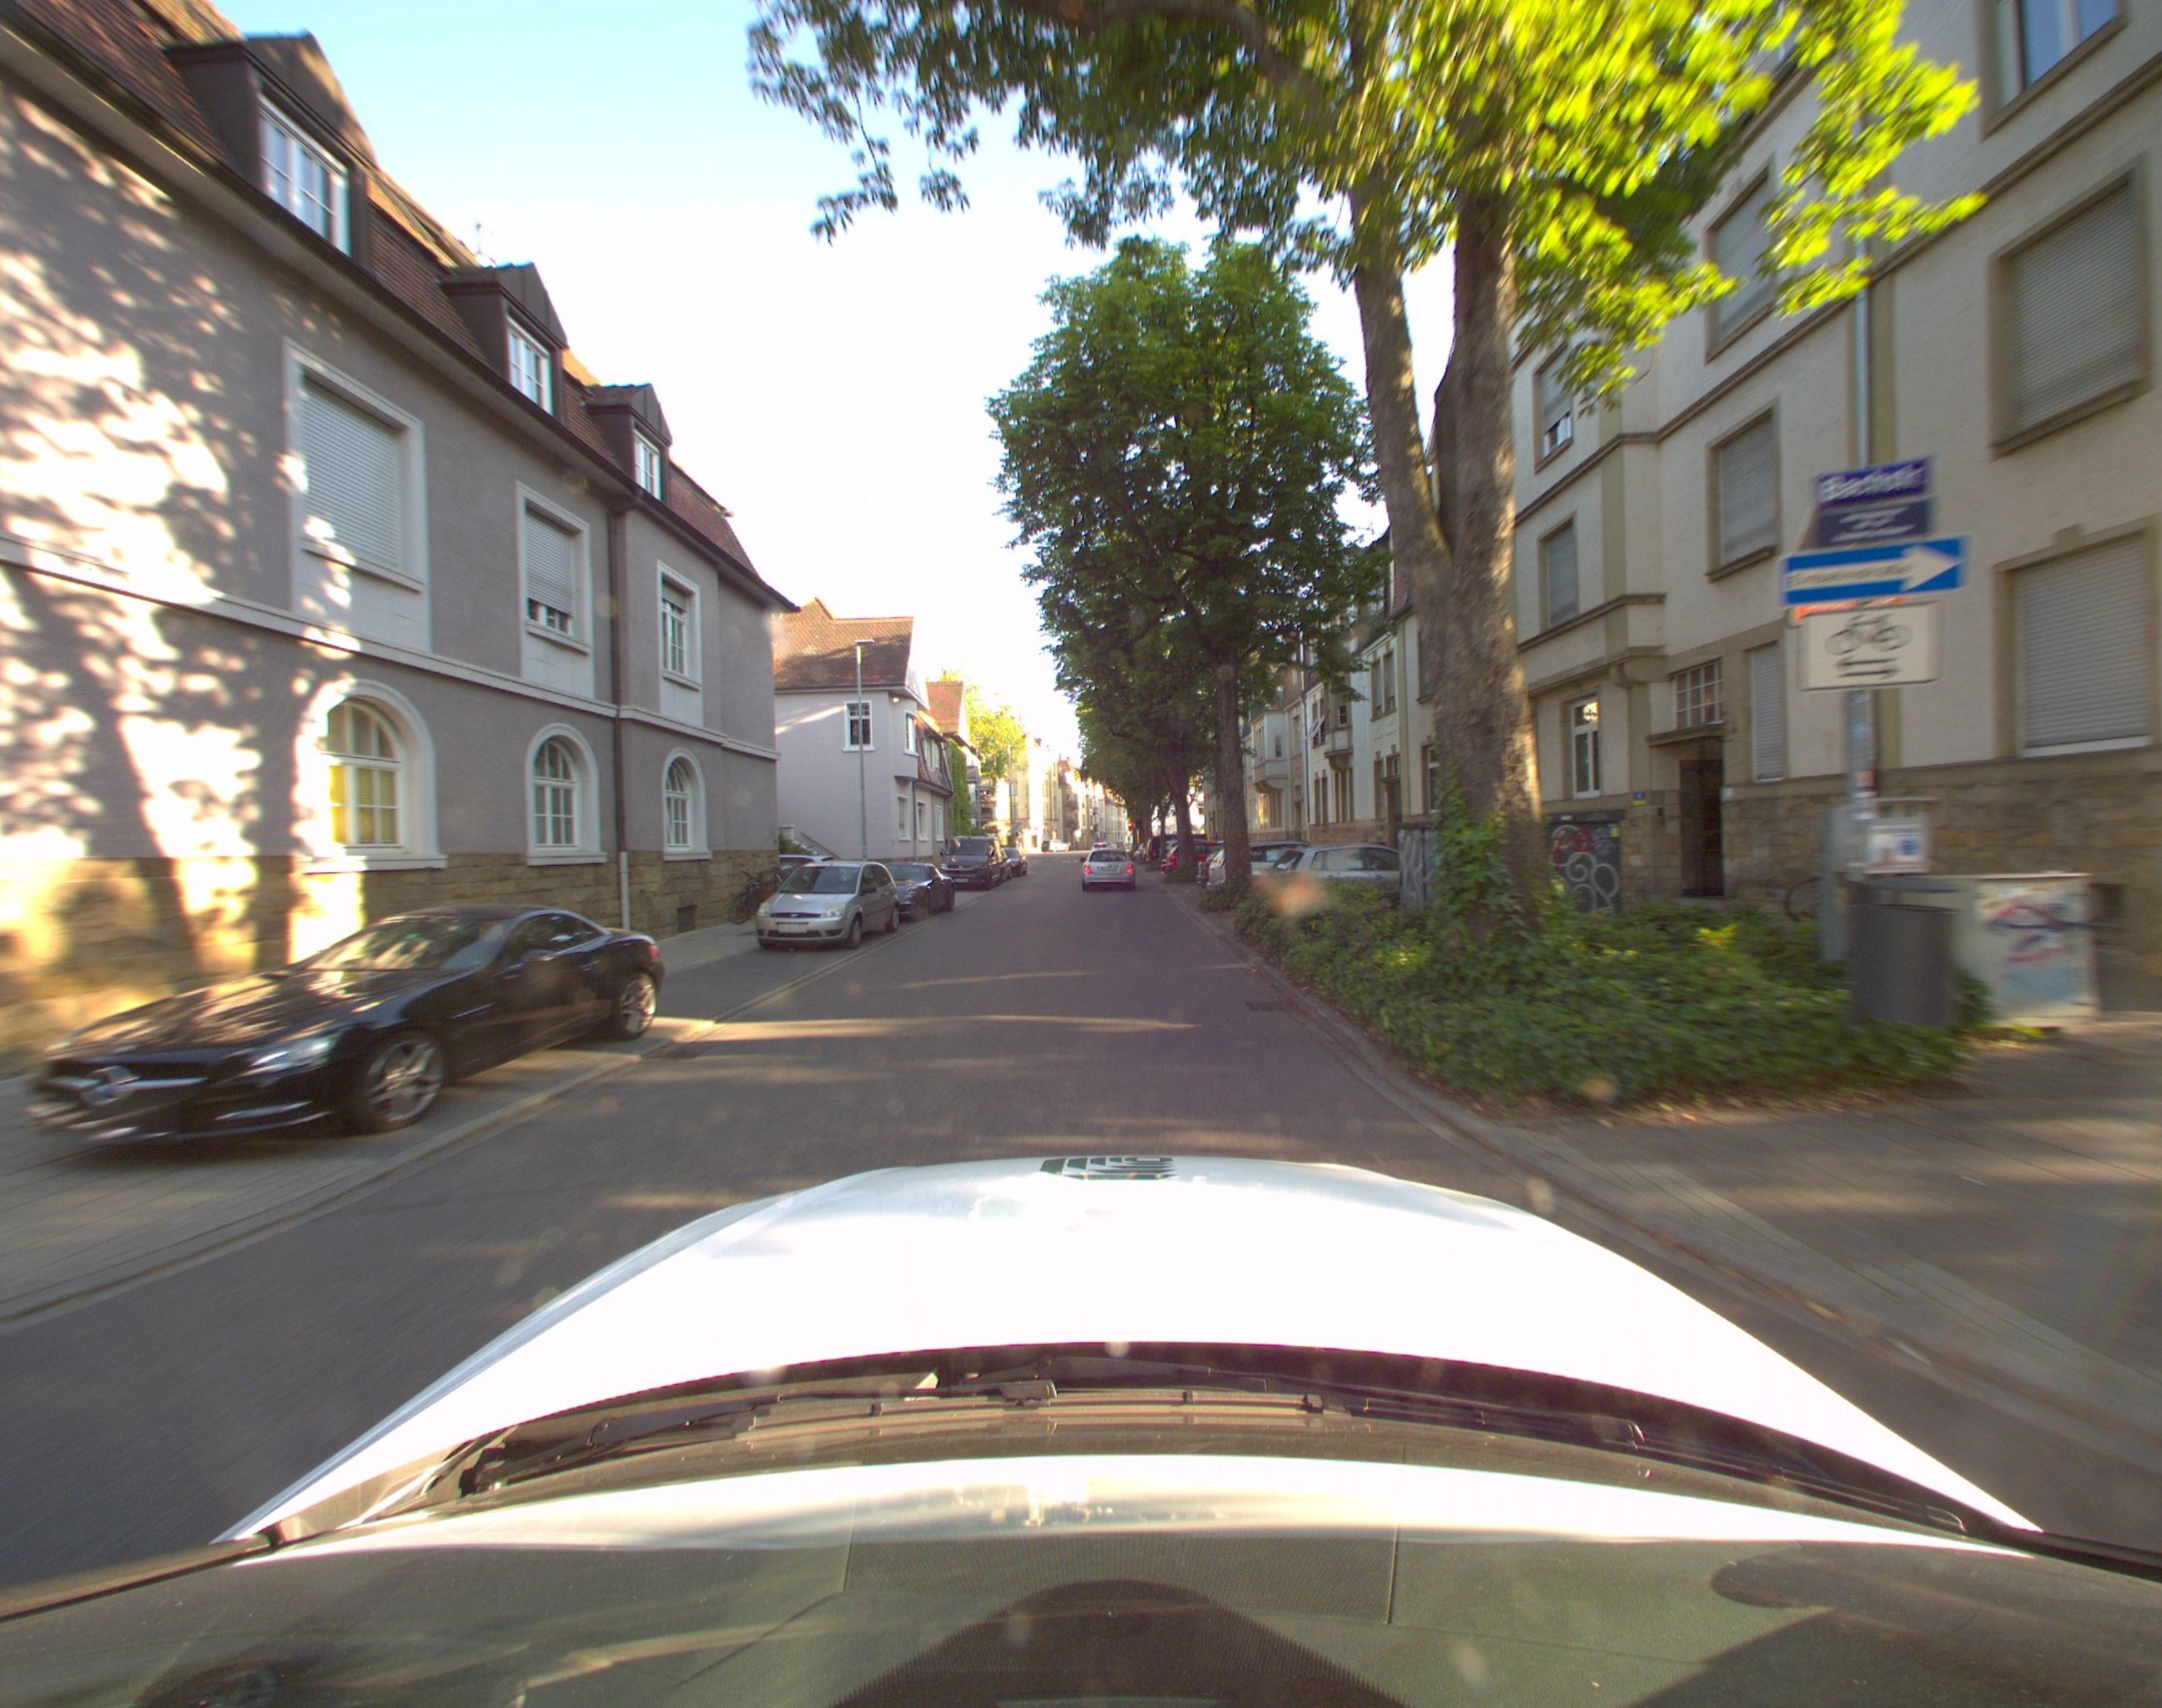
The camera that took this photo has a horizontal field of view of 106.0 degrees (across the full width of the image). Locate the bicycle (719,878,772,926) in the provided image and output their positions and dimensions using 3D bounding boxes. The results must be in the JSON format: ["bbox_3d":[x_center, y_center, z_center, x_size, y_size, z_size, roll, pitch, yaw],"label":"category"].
[{"bbox_3d":[-7.577,1.067,18.458,0.392,0.937,1.723,-2,1,2],"label":"bicycle"}]

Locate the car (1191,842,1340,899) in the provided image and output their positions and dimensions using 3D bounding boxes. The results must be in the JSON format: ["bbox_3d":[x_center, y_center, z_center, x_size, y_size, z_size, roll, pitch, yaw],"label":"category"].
[{"bbox_3d":[5.123,0.431,22.965,3.779,1.437,1.818,-2,1,1],"label":"car"}]

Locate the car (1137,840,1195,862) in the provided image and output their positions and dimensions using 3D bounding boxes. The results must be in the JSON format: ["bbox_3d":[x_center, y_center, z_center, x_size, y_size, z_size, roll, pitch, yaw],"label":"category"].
[{"bbox_3d":[6.633,-0.231,63.908,4.275,1.540,1.898,-1,1,-1],"label":"car"}]

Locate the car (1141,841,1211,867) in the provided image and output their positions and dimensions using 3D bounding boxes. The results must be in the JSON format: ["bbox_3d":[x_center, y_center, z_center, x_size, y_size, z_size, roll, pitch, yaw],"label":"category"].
[{"bbox_3d":[6.068,-0.027,52.282,4.275,1.540,1.876,-1,1,-1],"label":"car"}]

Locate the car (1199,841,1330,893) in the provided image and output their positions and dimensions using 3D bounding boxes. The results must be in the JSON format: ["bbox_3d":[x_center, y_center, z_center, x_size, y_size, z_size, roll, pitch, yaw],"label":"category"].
[{"bbox_3d":[5.661,0.372,25.460,3.777,1.483,1.562,-2,1,3],"label":"car"}]

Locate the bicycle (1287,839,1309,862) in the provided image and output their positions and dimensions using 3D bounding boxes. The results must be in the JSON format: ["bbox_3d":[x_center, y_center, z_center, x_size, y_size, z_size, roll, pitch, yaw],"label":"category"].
[{"bbox_3d":[10.431,-0.197,39.159,0.472,1.056,2.046,-3,1,1],"label":"bicycle"}]

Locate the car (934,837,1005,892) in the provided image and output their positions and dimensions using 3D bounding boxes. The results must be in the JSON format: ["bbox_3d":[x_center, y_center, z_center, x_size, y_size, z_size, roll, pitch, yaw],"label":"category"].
[{"bbox_3d":[-4.210,0.333,31.566,1.975,1.947,4.852,0,1,1],"label":"car"}]

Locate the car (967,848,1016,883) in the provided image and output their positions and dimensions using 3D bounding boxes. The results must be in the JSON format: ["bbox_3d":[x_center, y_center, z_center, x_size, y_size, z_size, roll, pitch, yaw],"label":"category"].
[{"bbox_3d":[-4.051,0.492,37.589,1.647,1.447,4.240,0,1,2],"label":"car"}]

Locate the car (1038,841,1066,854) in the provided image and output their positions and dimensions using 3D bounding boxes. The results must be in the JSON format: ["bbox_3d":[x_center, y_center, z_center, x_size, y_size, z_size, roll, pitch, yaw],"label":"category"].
[{"bbox_3d":[-3.749,-0.845,105.616,1.975,1.585,4.024,-1,1,25],"label":"car"}]

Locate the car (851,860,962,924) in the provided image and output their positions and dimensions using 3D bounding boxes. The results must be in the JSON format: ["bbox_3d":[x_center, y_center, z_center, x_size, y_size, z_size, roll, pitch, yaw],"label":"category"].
[{"bbox_3d":[-4.192,0.871,20.190,1.524,1.319,4.232,-1,1,4],"label":"car"}]

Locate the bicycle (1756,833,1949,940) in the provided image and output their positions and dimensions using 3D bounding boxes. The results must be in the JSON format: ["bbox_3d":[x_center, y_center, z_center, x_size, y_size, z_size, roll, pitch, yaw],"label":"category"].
[{"bbox_3d":[9.678,0.354,10.338,0.583,1.211,1.957,-1,1,0],"label":"bicycle"}]

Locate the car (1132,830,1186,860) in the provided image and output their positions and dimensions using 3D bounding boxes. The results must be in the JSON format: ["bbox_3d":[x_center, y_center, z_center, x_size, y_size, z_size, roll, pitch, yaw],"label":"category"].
[{"bbox_3d":[6.638,-0.775,69.379,4.376,2.364,1.999,-1,1,-1],"label":"car"}]

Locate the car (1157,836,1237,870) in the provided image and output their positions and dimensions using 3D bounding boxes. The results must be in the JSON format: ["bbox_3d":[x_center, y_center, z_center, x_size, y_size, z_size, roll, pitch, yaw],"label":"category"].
[{"bbox_3d":[6.282,-0.057,44.574,4.095,1.571,1.878,-3,1,1],"label":"car"}]

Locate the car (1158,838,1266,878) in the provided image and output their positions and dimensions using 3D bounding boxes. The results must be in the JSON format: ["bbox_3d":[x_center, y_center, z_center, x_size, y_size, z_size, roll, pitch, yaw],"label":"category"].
[{"bbox_3d":[5.611,0.170,35.286,4.392,1.419,1.879,-4,1,3],"label":"car"}]

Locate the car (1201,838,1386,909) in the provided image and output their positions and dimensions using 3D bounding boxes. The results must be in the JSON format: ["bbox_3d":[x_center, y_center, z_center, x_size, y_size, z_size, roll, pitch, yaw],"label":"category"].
[{"bbox_3d":[5.217,0.443,20.337,4.138,1.576,1.710,-2,1,-4],"label":"car"}]

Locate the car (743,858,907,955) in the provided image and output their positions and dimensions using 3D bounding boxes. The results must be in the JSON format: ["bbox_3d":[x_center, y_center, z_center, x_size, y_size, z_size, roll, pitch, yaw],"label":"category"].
[{"bbox_3d":[-4.558,0.865,15.138,1.647,1.445,3.963,0,1,2],"label":"car"}]

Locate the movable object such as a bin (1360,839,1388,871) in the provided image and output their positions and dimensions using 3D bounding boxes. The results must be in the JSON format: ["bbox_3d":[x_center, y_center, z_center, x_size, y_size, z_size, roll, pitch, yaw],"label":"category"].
[{"bbox_3d":[10.165,0.038,28.281,0.697,1.049,0.541,-5,1,1],"label":"movable object such as a bin"}]

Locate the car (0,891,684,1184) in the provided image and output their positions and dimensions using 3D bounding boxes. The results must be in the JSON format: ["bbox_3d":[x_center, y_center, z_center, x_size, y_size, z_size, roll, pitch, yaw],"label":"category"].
[{"bbox_3d":[-5.045,1.074,6.393,1.646,1.323,4.050,0,1,4],"label":"car"}]

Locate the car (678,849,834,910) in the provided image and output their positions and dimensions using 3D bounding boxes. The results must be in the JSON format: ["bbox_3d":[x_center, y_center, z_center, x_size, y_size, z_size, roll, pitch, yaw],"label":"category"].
[{"bbox_3d":[-9.663,0.738,24.475,3.854,1.621,1.896,-1,1,-3],"label":"car"}]

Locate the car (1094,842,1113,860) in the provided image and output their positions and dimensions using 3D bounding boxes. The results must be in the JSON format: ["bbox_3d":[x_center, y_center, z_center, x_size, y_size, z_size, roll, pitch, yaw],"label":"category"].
[{"bbox_3d":[2.003,-0.284,72.552,1.617,1.569,3.683,-1,1,2],"label":"car"}]

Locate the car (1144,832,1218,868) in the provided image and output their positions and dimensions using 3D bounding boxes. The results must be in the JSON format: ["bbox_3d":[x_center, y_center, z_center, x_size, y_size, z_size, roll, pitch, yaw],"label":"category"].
[{"bbox_3d":[6.013,-0.252,49.280,4.207,1.896,1.905,-3,1,-1],"label":"car"}]

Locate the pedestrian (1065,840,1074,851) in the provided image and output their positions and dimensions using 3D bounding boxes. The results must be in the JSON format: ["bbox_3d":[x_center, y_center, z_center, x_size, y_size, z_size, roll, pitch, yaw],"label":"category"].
[{"bbox_3d":[-1.877,-1.403,132.668,1.215,1.721,1.505,0,1,5],"label":"pedestrian"}]

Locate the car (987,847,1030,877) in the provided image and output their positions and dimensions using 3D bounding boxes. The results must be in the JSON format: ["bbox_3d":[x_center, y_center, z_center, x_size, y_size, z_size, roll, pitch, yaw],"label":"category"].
[{"bbox_3d":[-3.746,0.384,42.567,1.688,1.447,4.360,0,1,2],"label":"car"}]

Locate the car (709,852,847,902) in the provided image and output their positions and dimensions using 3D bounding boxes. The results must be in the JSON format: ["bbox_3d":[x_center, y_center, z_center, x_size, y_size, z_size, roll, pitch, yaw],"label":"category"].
[{"bbox_3d":[-9.823,0.730,26.637,3.854,1.443,1.634,-1,1,-3],"label":"car"}]

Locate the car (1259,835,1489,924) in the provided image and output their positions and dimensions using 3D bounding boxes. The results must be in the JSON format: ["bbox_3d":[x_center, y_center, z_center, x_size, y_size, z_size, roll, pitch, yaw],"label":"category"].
[{"bbox_3d":[5.557,0.449,15.739,3.785,1.437,1.747,-3,1,-3],"label":"car"}]

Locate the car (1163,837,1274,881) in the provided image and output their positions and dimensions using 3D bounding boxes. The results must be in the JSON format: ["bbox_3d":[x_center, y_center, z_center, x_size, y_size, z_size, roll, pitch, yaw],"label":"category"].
[{"bbox_3d":[5.465,0.196,32.688,4.171,1.475,1.854,-4,1,3],"label":"car"}]

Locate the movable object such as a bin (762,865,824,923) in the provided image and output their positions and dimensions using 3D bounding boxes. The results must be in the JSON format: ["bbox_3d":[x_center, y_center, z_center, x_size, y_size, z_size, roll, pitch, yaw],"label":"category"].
[{"bbox_3d":[-7.180,0.978,20.427,0.719,1.283,2.097,-1,1,2],"label":"movable object such as a bin"}]

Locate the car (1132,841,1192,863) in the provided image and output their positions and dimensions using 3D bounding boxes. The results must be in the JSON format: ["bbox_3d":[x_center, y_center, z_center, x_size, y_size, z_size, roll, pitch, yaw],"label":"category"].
[{"bbox_3d":[6.108,-0.180,61.474,4.275,1.417,1.876,-3,1,-1],"label":"car"}]

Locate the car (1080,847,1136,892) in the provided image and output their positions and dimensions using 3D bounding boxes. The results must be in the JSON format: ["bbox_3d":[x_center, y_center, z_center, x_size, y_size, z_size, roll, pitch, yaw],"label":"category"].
[{"bbox_3d":[0.930,0.475,27.866,1.777,1.437,3.853,-1,0,2],"label":"car"}]
